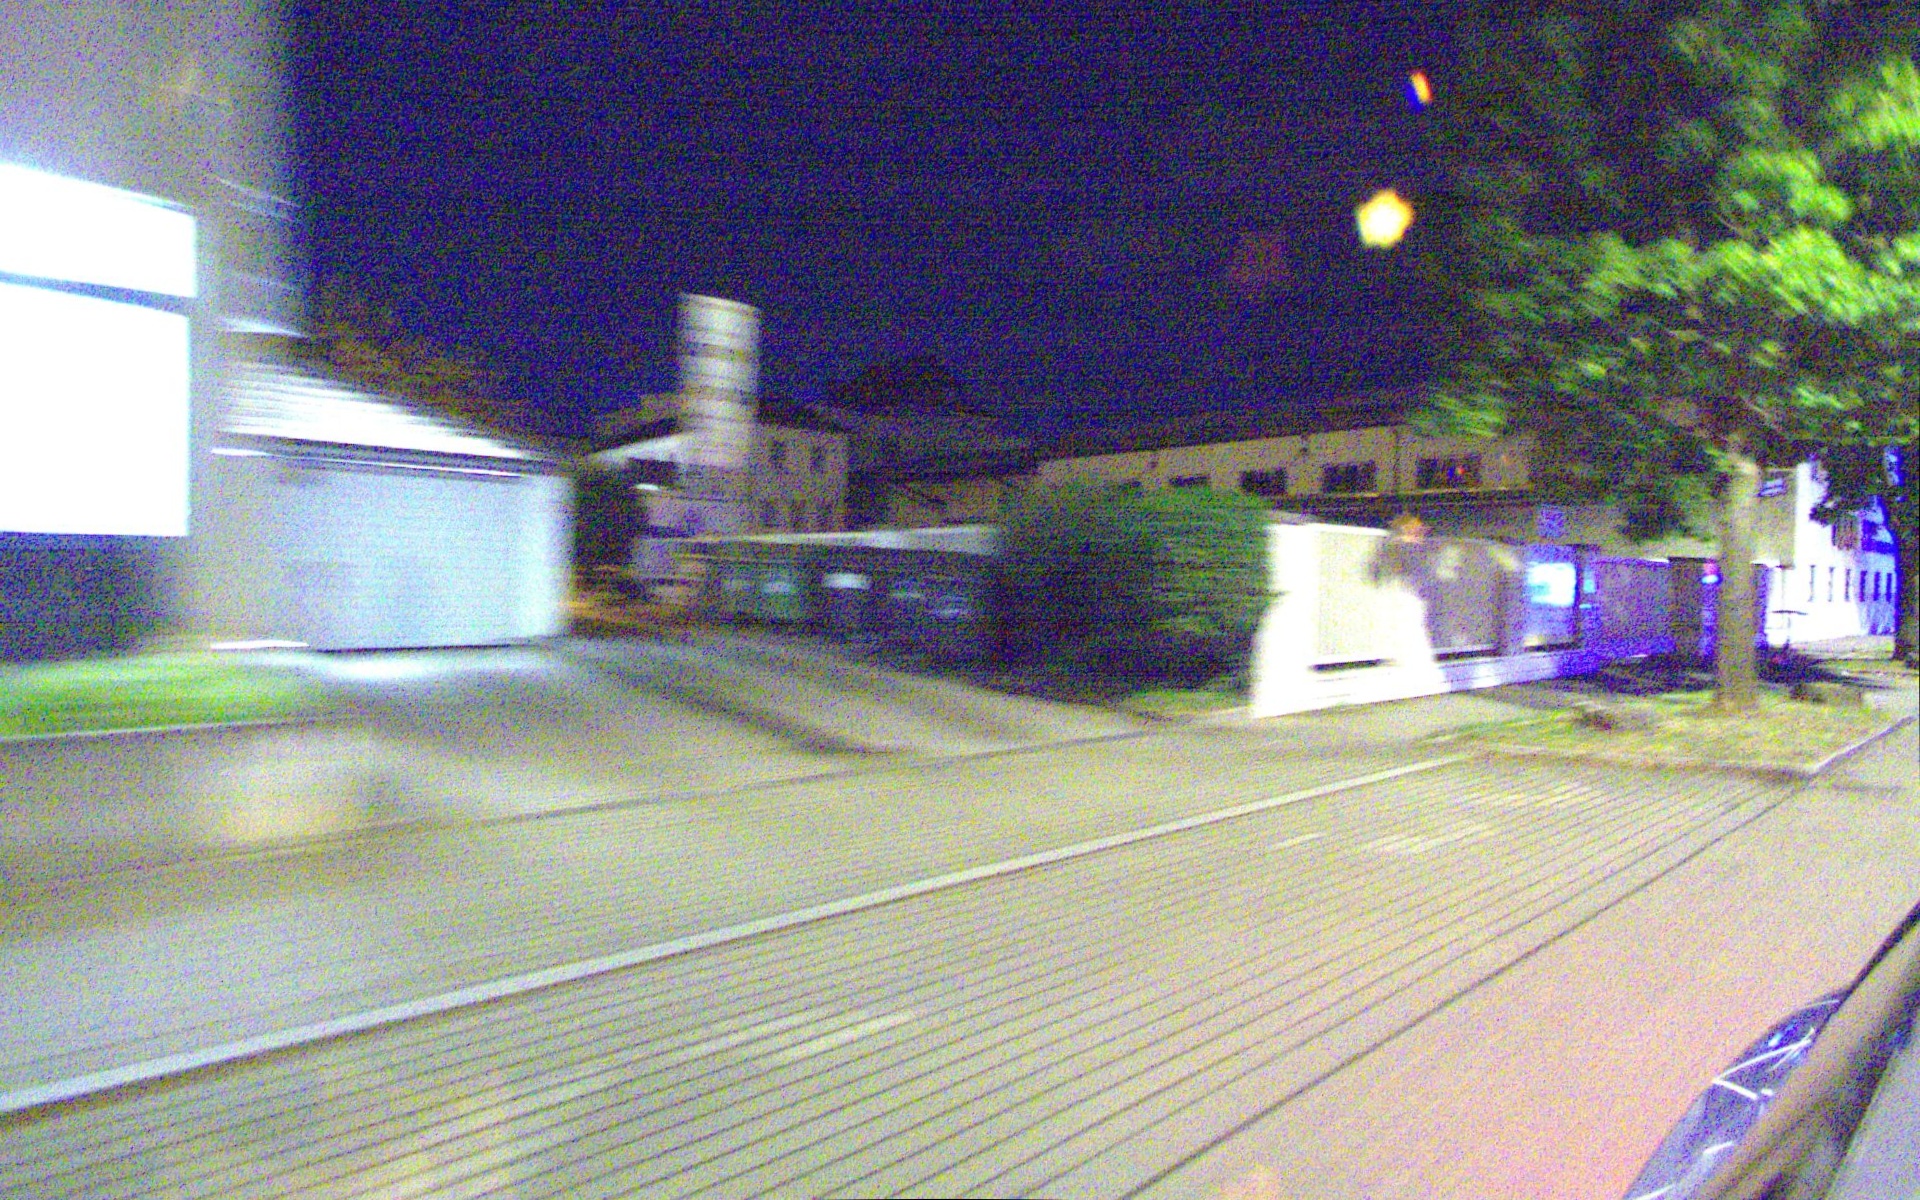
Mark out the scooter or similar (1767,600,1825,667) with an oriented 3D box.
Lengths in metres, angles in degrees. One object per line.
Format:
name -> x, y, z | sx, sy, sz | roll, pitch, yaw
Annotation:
scooter or similar -> 16.657, 0.636, 20.157 | 1.877, 1.217, 0.548 | -1, 3, -41
